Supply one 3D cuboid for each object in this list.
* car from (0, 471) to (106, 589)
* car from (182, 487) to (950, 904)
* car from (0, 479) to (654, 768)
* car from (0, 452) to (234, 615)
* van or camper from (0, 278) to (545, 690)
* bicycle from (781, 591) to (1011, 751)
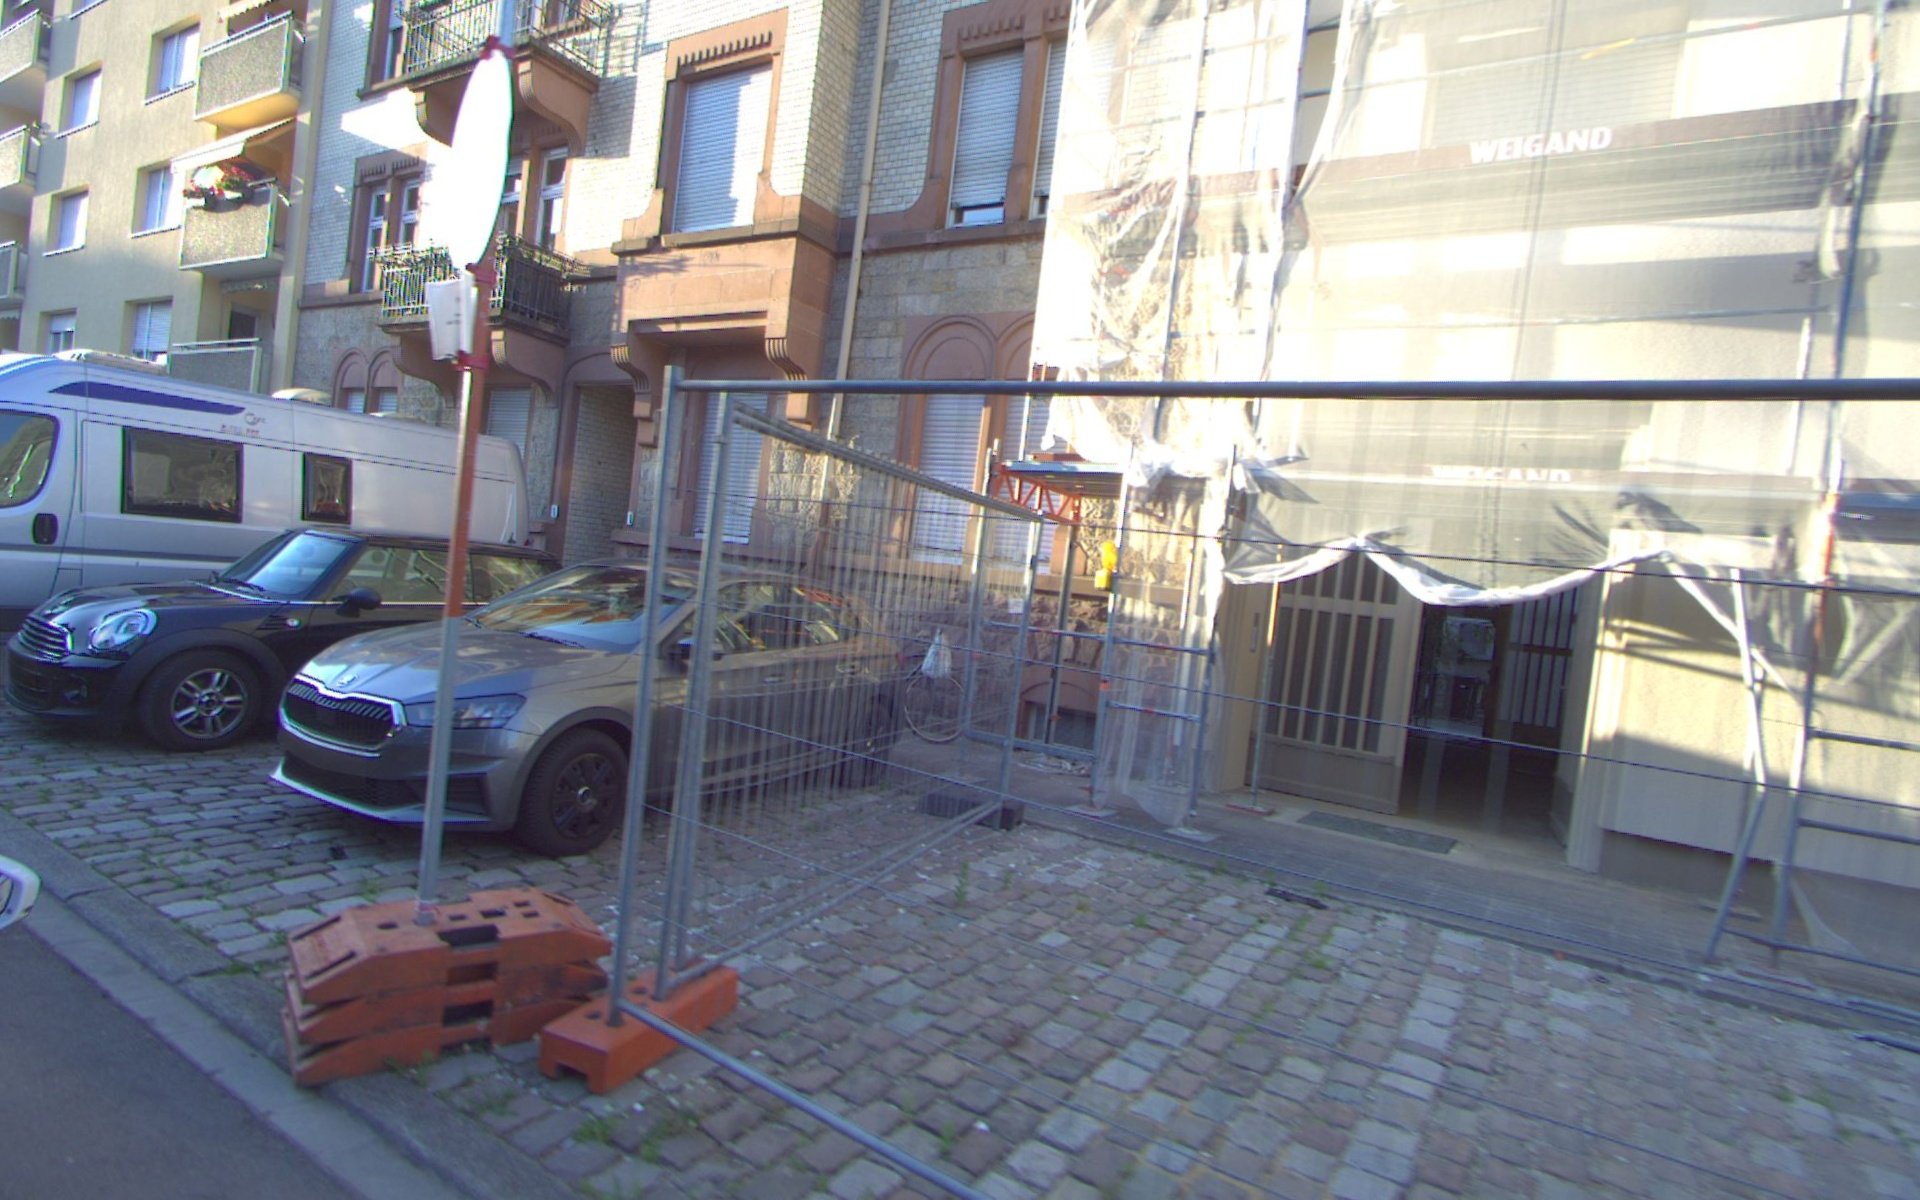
[{"bbox_3d":[-13.600,-1.021,12.618,1.803,1.473,3.990,7,3,28],"label":"car"},{"bbox_3d":[-1.935,0.363,6.167,1.984,1.536,3.990,7,3,27],"label":"car"},{"bbox_3d":[-4.446,0.124,7.399,1.758,1.505,3.934,6,1,33],"label":"car"},{"bbox_3d":[-11.382,-0.850,11.648,1.741,1.750,4.442,7,1,26],"label":"car"},{"bbox_3d":[-6.924,-0.802,8.602,2.074,2.803,5.939,7,-1,31],"label":"van or camper"},{"bbox_3d":[-0.622,0.634,9.487,1.999,1.183,0.632,7,0,26],"label":"bicycle"}]
